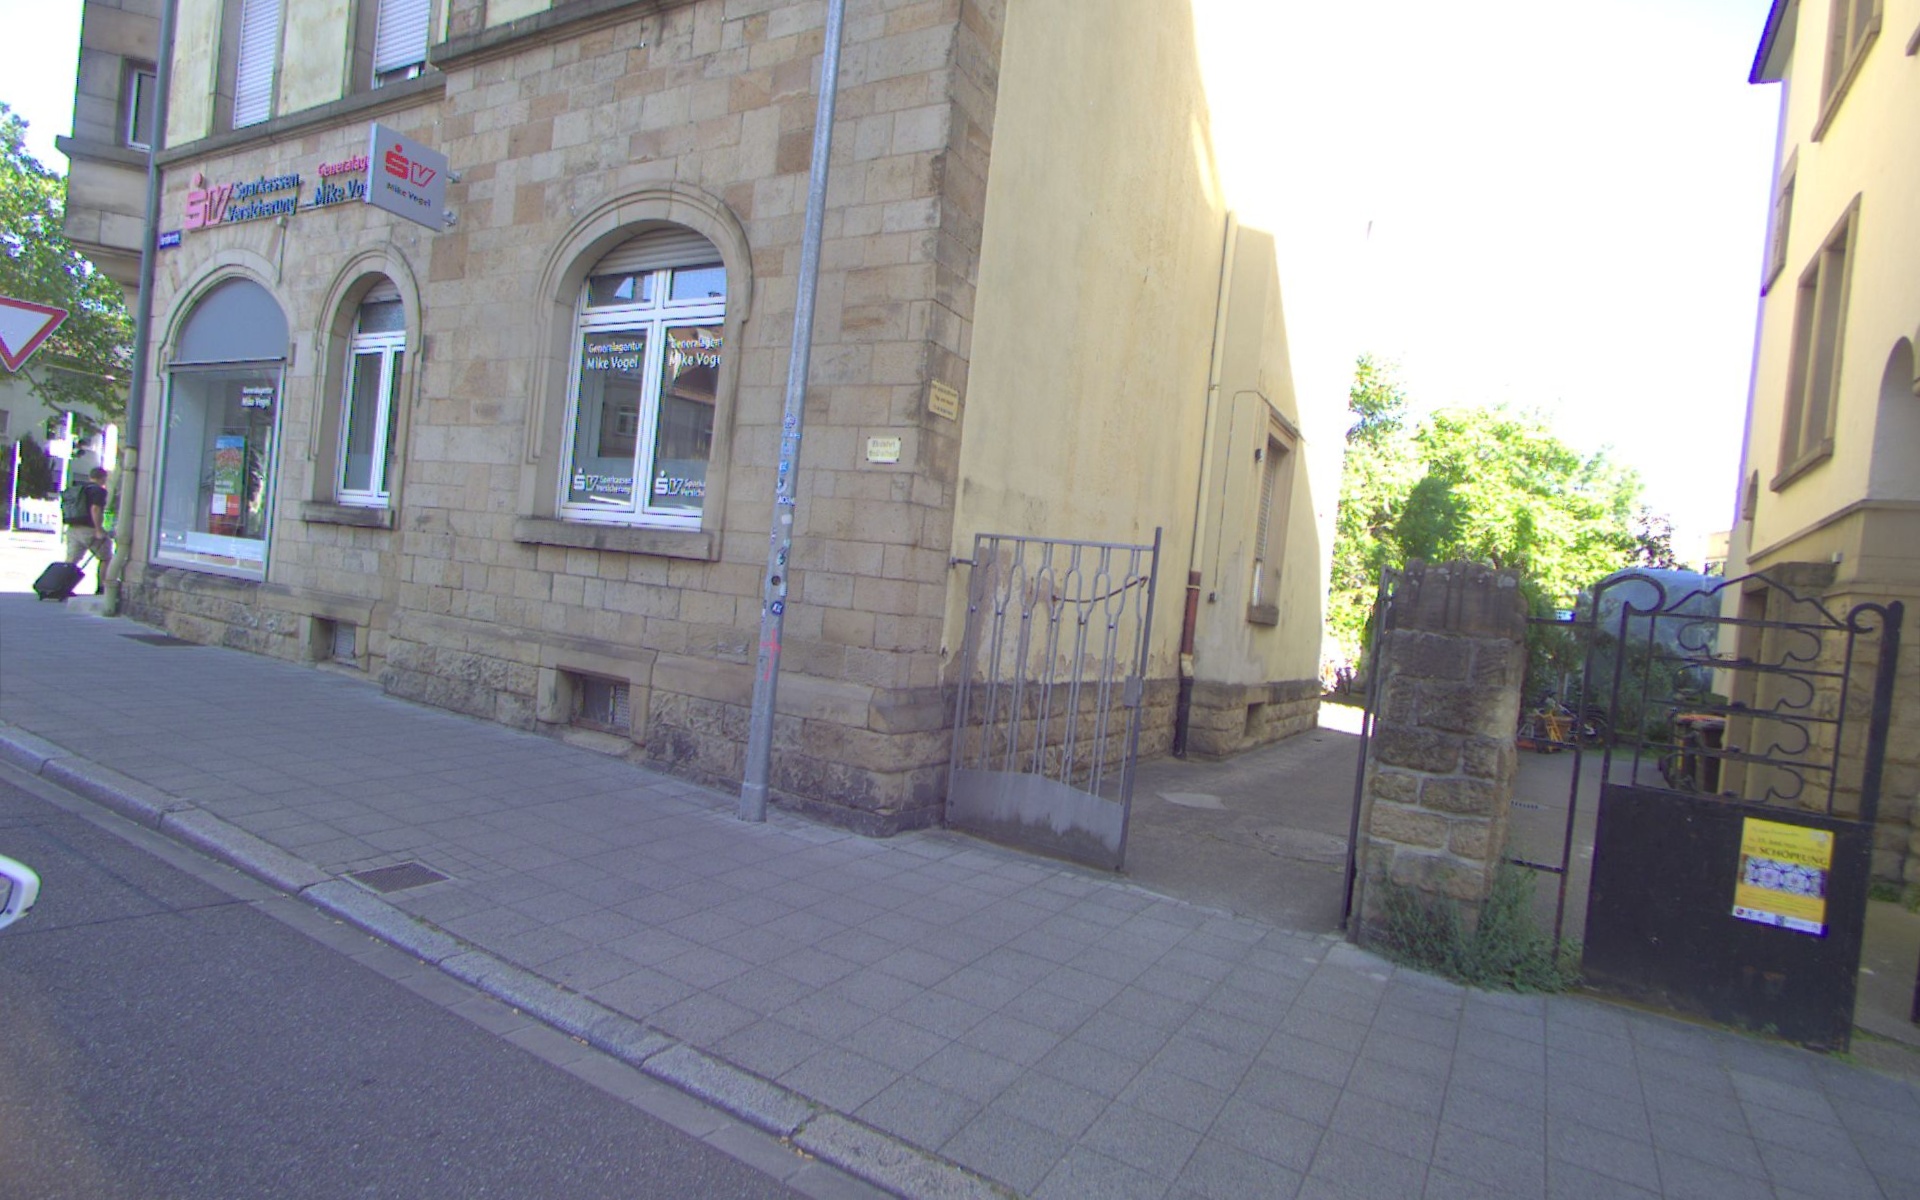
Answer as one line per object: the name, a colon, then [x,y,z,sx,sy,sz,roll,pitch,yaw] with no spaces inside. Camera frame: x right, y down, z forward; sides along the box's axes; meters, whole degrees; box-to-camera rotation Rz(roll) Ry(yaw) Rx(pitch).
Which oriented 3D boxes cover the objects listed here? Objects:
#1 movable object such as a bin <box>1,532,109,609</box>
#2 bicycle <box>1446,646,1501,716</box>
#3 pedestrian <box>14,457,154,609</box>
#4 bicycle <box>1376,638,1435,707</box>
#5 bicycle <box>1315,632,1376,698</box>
movable object such as a bin: [-11.748,-0.373,13.080,0.500,0.903,0.864,7,1,19]
bicycle: [12.595,1.937,24.638,0.904,1.532,2.667,6,2,31]
pedestrian: [-11.870,-0.881,13.665,0.735,1.871,1.069,7,0,19]
bicycle: [11.210,1.777,25.252,0.904,1.532,2.667,6,2,31]
bicycle: [9.977,1.642,25.968,0.904,1.532,2.667,6,2,31]
